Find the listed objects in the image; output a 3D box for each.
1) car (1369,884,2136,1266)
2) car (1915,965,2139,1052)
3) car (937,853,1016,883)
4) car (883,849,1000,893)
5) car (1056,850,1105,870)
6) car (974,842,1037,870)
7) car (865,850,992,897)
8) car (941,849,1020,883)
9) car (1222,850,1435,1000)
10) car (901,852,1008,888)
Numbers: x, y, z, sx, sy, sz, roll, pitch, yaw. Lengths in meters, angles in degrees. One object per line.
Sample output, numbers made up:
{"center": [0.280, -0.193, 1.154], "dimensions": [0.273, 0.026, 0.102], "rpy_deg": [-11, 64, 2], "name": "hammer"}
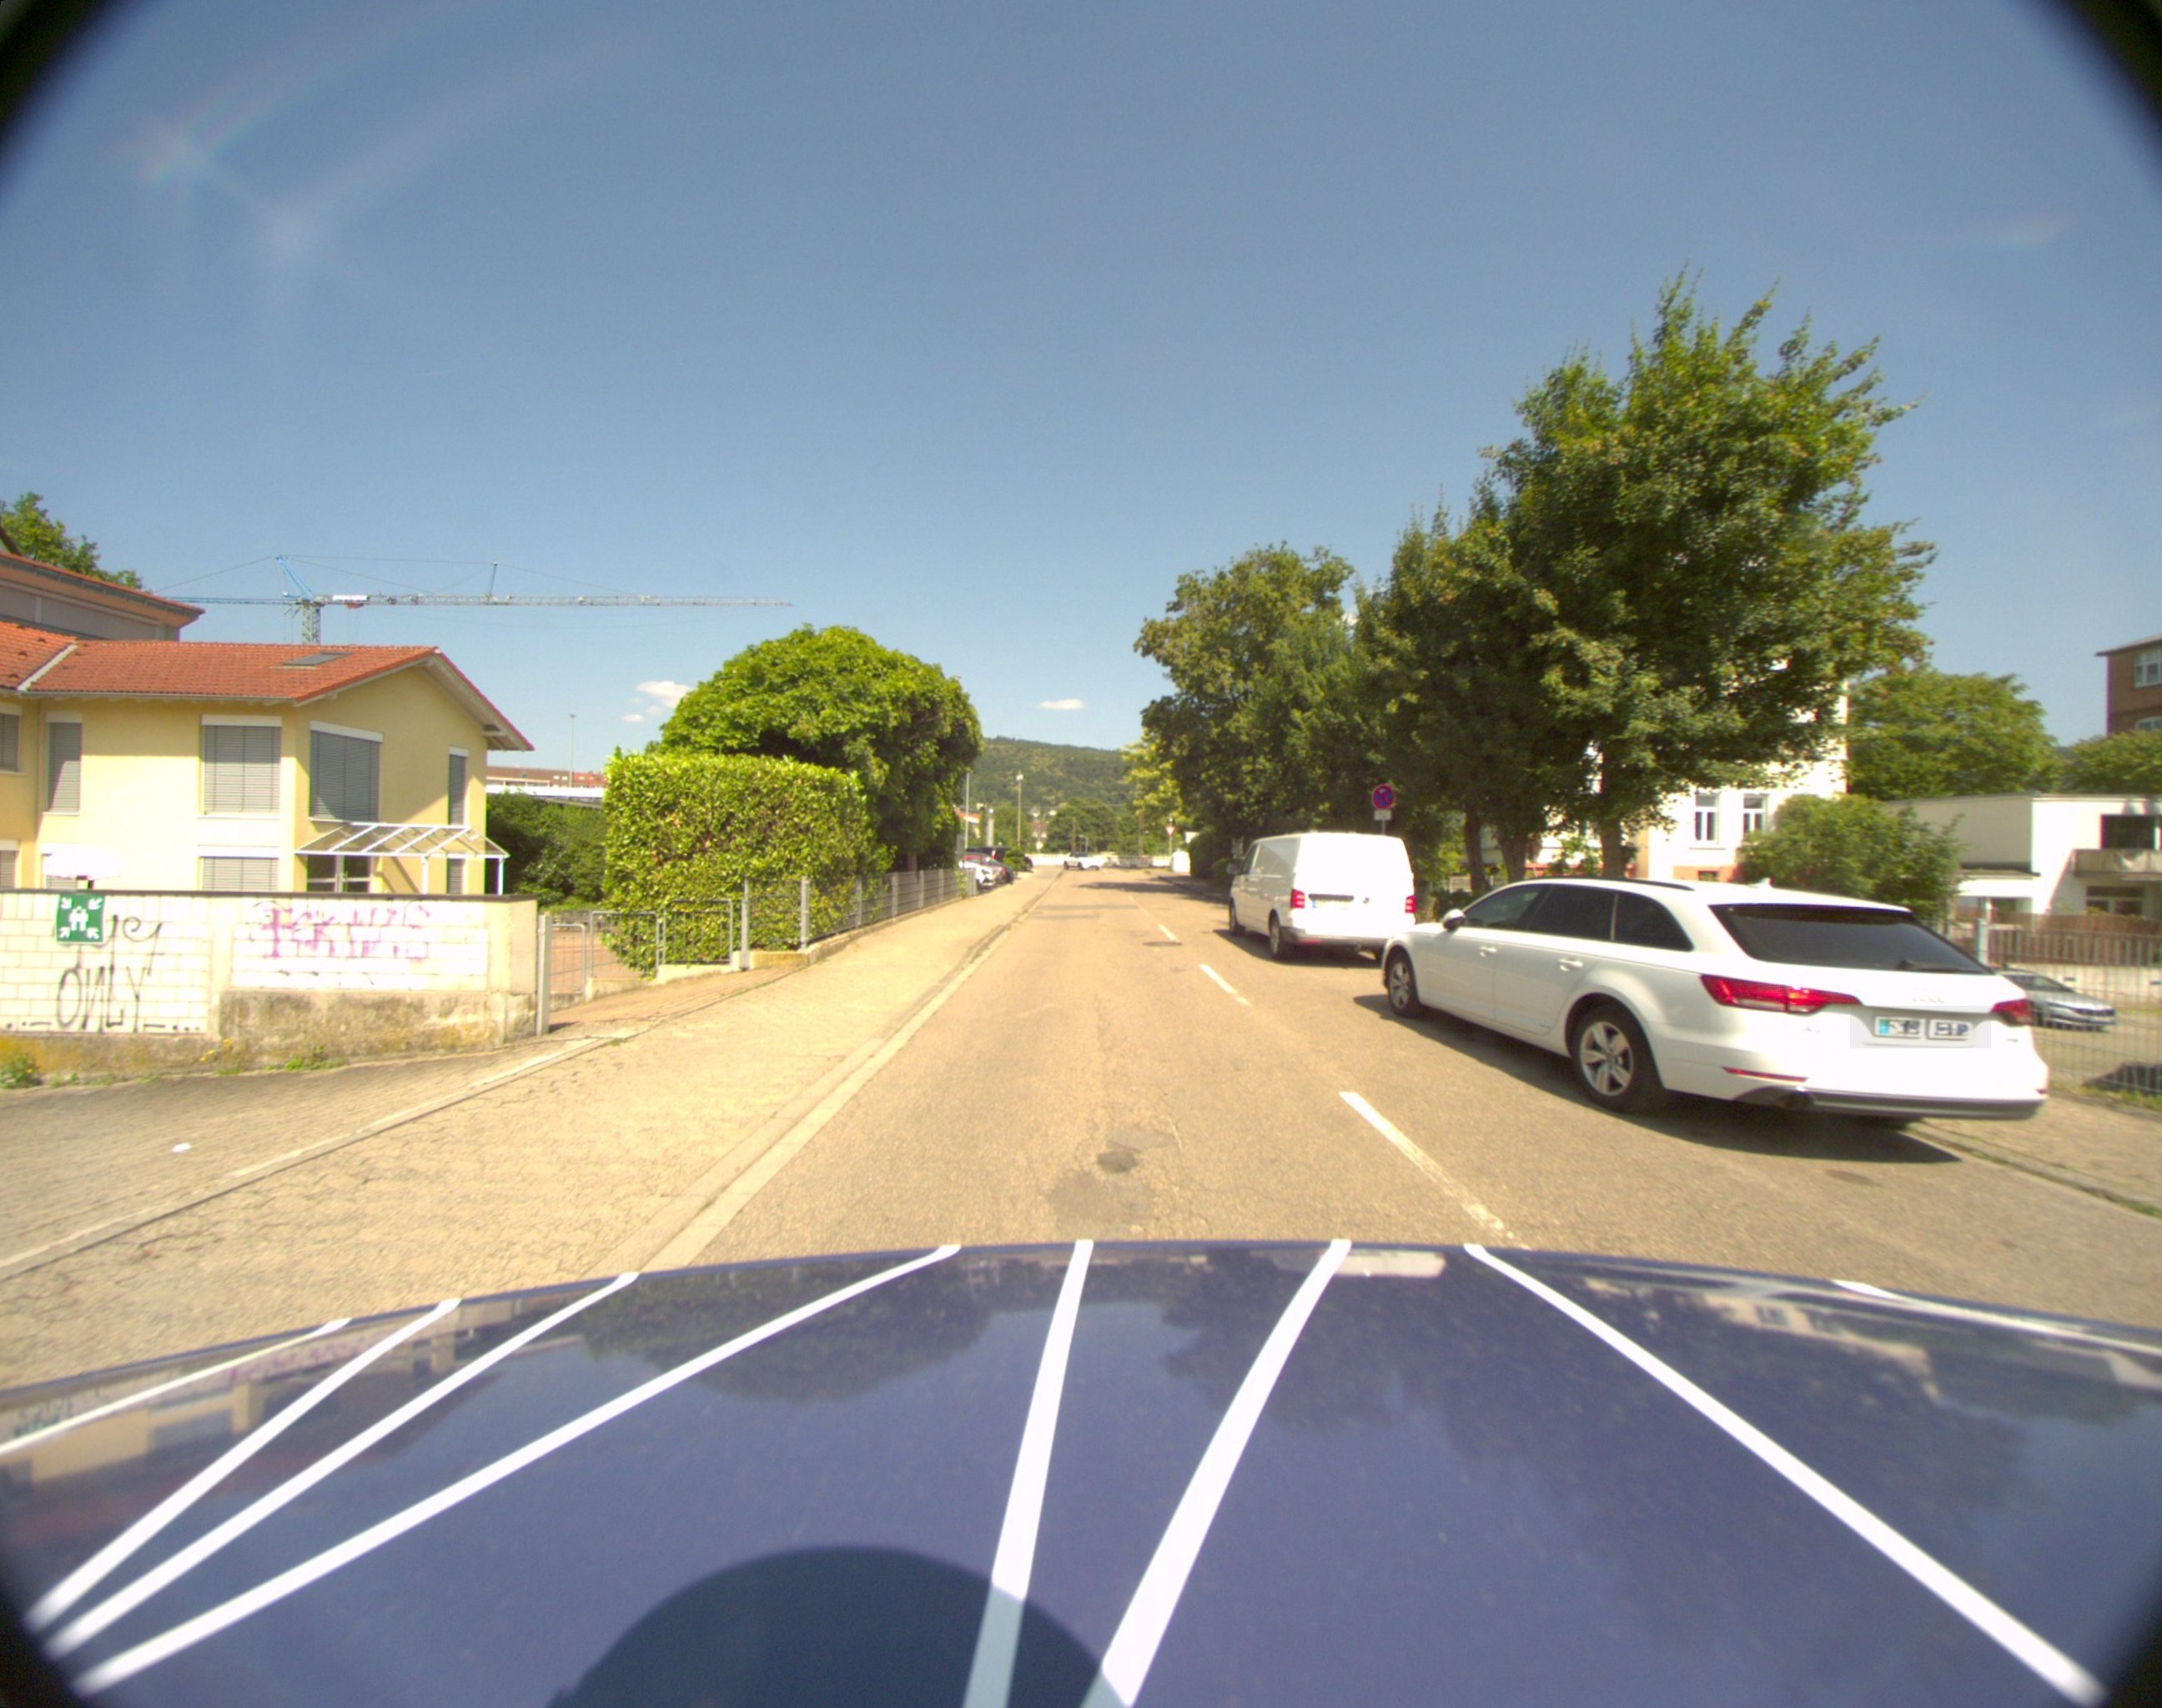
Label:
{"center": [3.960, 1.122, 5.723], "dimensions": [1.719, 1.535, 4.400], "rpy_deg": [3, 0, -2], "name": "car"}
{"center": [28.711, 4.622, 23.310], "dimensions": [1.997, 1.674, 4.002], "rpy_deg": [3, 1, 7], "name": "car"}
{"center": [-4.964, 0.660, 36.355], "dimensions": [3.558, 1.327, 1.558], "rpy_deg": [1, 0, -1], "name": "car"}
{"center": [-5.633, 0.672, 31.144], "dimensions": [4.415, 1.519, 1.896], "rpy_deg": [3, 1, -2], "name": "car"}
{"center": [-0.052, 0.508, 63.545], "dimensions": [1.901, 1.412, 4.158], "rpy_deg": [2, 1, -37], "name": "car"}
{"center": [-5.052, 0.110, 51.352], "dimensions": [1.847, 1.772, 4.300], "rpy_deg": [2, 1, 36], "name": "car"}
{"center": [-5.668, 0.705, 28.664], "dimensions": [4.414, 1.644, 1.843], "rpy_deg": [1, 0, -2], "name": "car"}
{"center": [-5.143, 0.624, 39.285], "dimensions": [3.812, 1.614, 1.759], "rpy_deg": [1, 0, -1], "name": "car"}
{"center": [3.917, 0.984, 13.112], "dimensions": [1.976, 2.002, 5.056], "rpy_deg": [3, 0, 1], "name": "car"}
{"center": [-5.576, 0.694, 33.776], "dimensions": [4.414, 1.488, 1.897], "rpy_deg": [1, 0, 0], "name": "car"}
